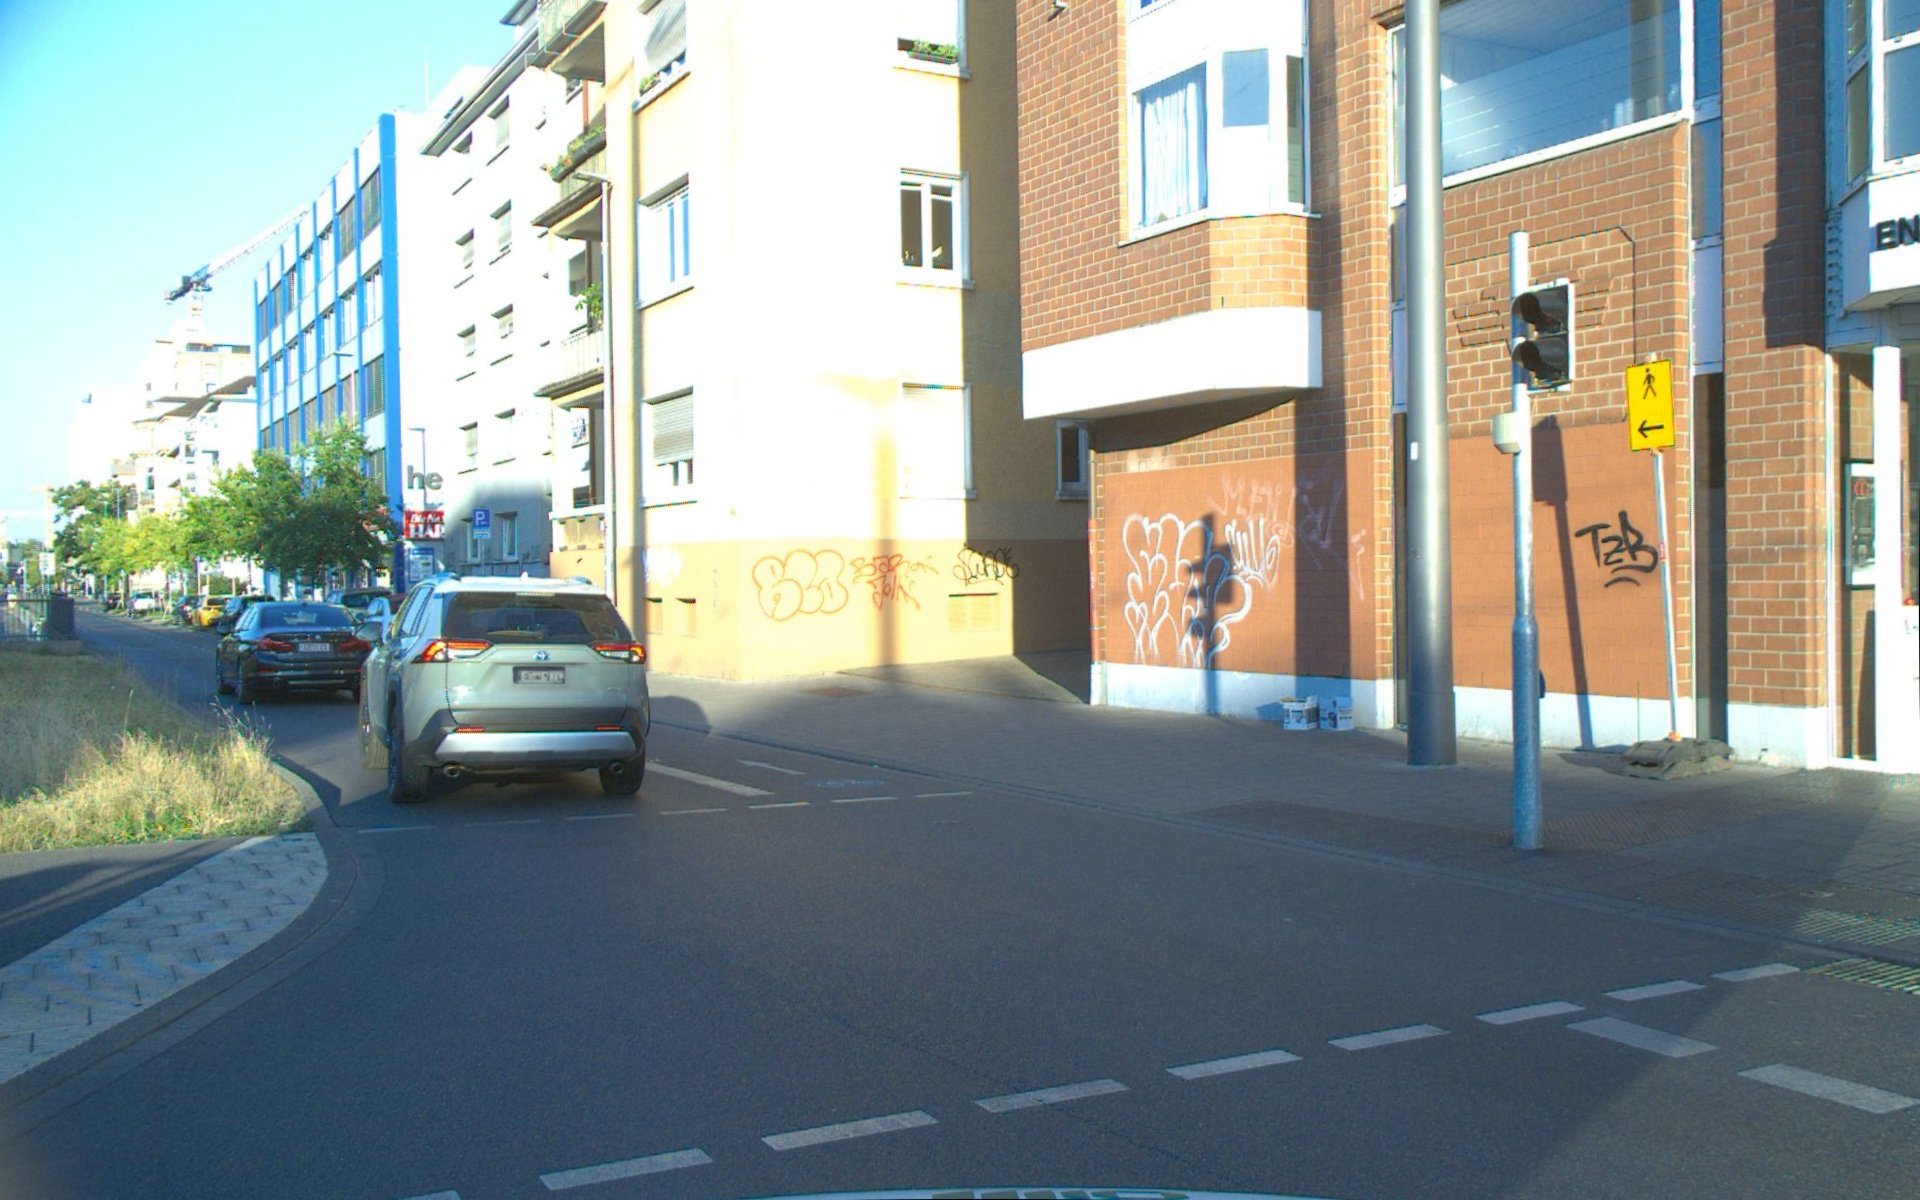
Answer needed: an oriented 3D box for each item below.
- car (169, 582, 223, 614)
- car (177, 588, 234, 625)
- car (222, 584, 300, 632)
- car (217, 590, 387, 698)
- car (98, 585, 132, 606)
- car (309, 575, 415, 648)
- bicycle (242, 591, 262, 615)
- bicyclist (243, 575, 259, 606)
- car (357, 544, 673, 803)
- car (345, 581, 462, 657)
[{"bbox_3d":[-36.830,-0.098,79.657,1.802,1.479,4.082,-3,1,-32],"label":"car"},{"bbox_3d":[-32.136,0.248,70.404,1.668,1.480,4.083,-2,1,-32],"label":"car"},{"bbox_3d":[-25.608,0.272,60.515,1.802,1.594,4.756,-4,2,-32],"label":"car"},{"bbox_3d":[-10.050,0.621,25.081,1.838,1.488,4.150,1,-1,-30],"label":"car"},{"bbox_3d":[-66.405,-0.351,129.945,1.777,1.496,4.393,-5,3,-33],"label":"car"},{"bbox_3d":[-15.627,0.269,43.095,1.739,1.682,4.482,-4,2,-30],"label":"car"},{"bbox_3d":[-35.014,0.161,81.768,0.549,1.149,1.952,-4,2,-32],"label":"bicycle"},{"bbox_3d":[-35.075,-0.460,81.784,0.553,1.501,0.616,-5,2,-33],"label":"bicyclist"},{"bbox_3d":[-3.753,0.509,13.420,1.834,1.744,4.160,1,0,-24],"label":"car"},{"bbox_3d":[-13.027,0.419,38.619,1.655,1.543,3.560,-6,3,-33],"label":"car"}]
